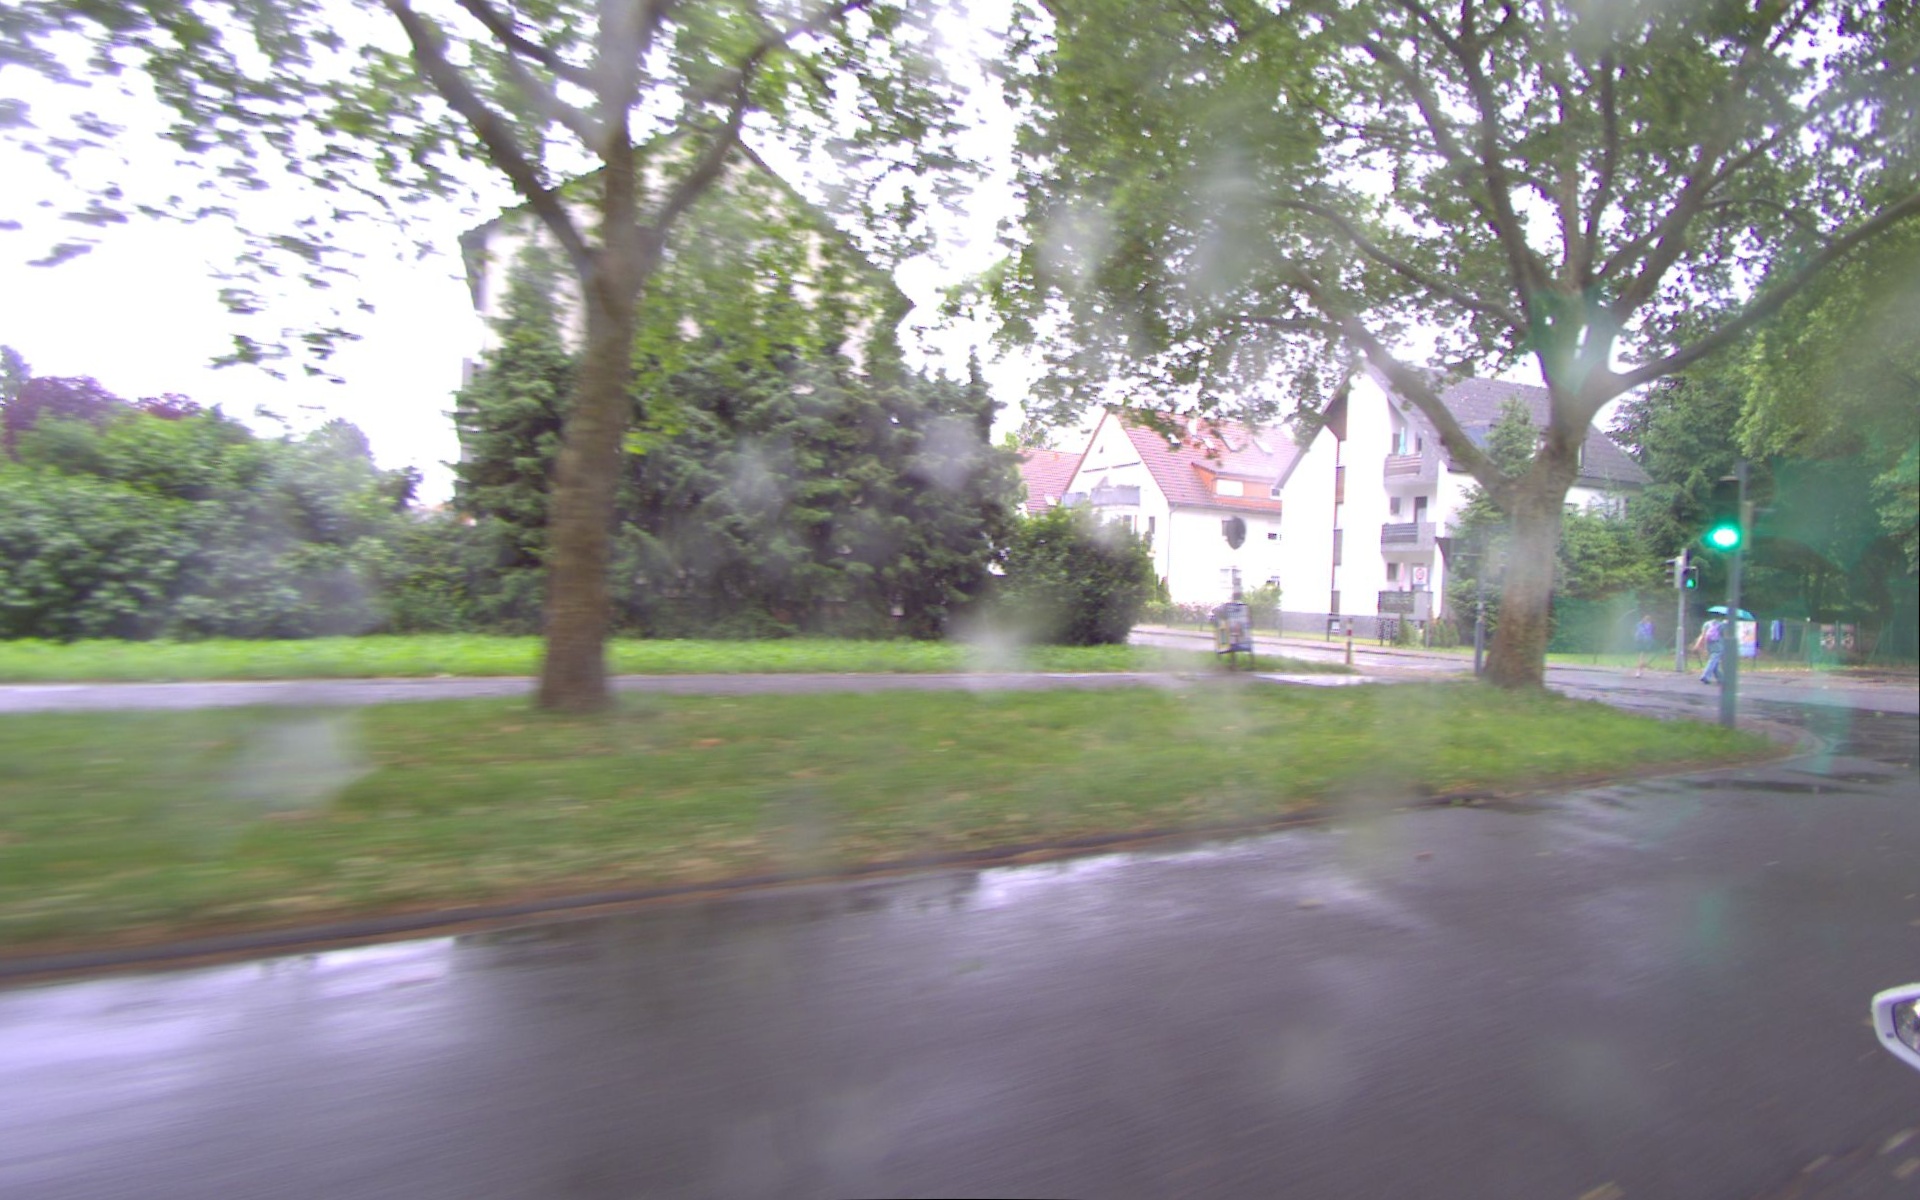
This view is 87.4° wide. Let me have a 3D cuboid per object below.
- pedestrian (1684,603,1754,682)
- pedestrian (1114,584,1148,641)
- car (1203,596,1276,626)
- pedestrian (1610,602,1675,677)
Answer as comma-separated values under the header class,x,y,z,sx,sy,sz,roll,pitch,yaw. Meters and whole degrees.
class,x,y,z,sx,sy,sz,roll,pitch,yaw
pedestrian,17.732,0.973,23.488,0.827,1.789,1.029,1,0,-28
pedestrian,5.461,0.398,32.075,0.632,1.768,0.854,1,1,-30
car,14.838,0.581,53.383,3.611,1.465,1.609,2,-1,-28
pedestrian,16.812,0.948,24.753,0.868,1.789,1.029,1,0,-28
